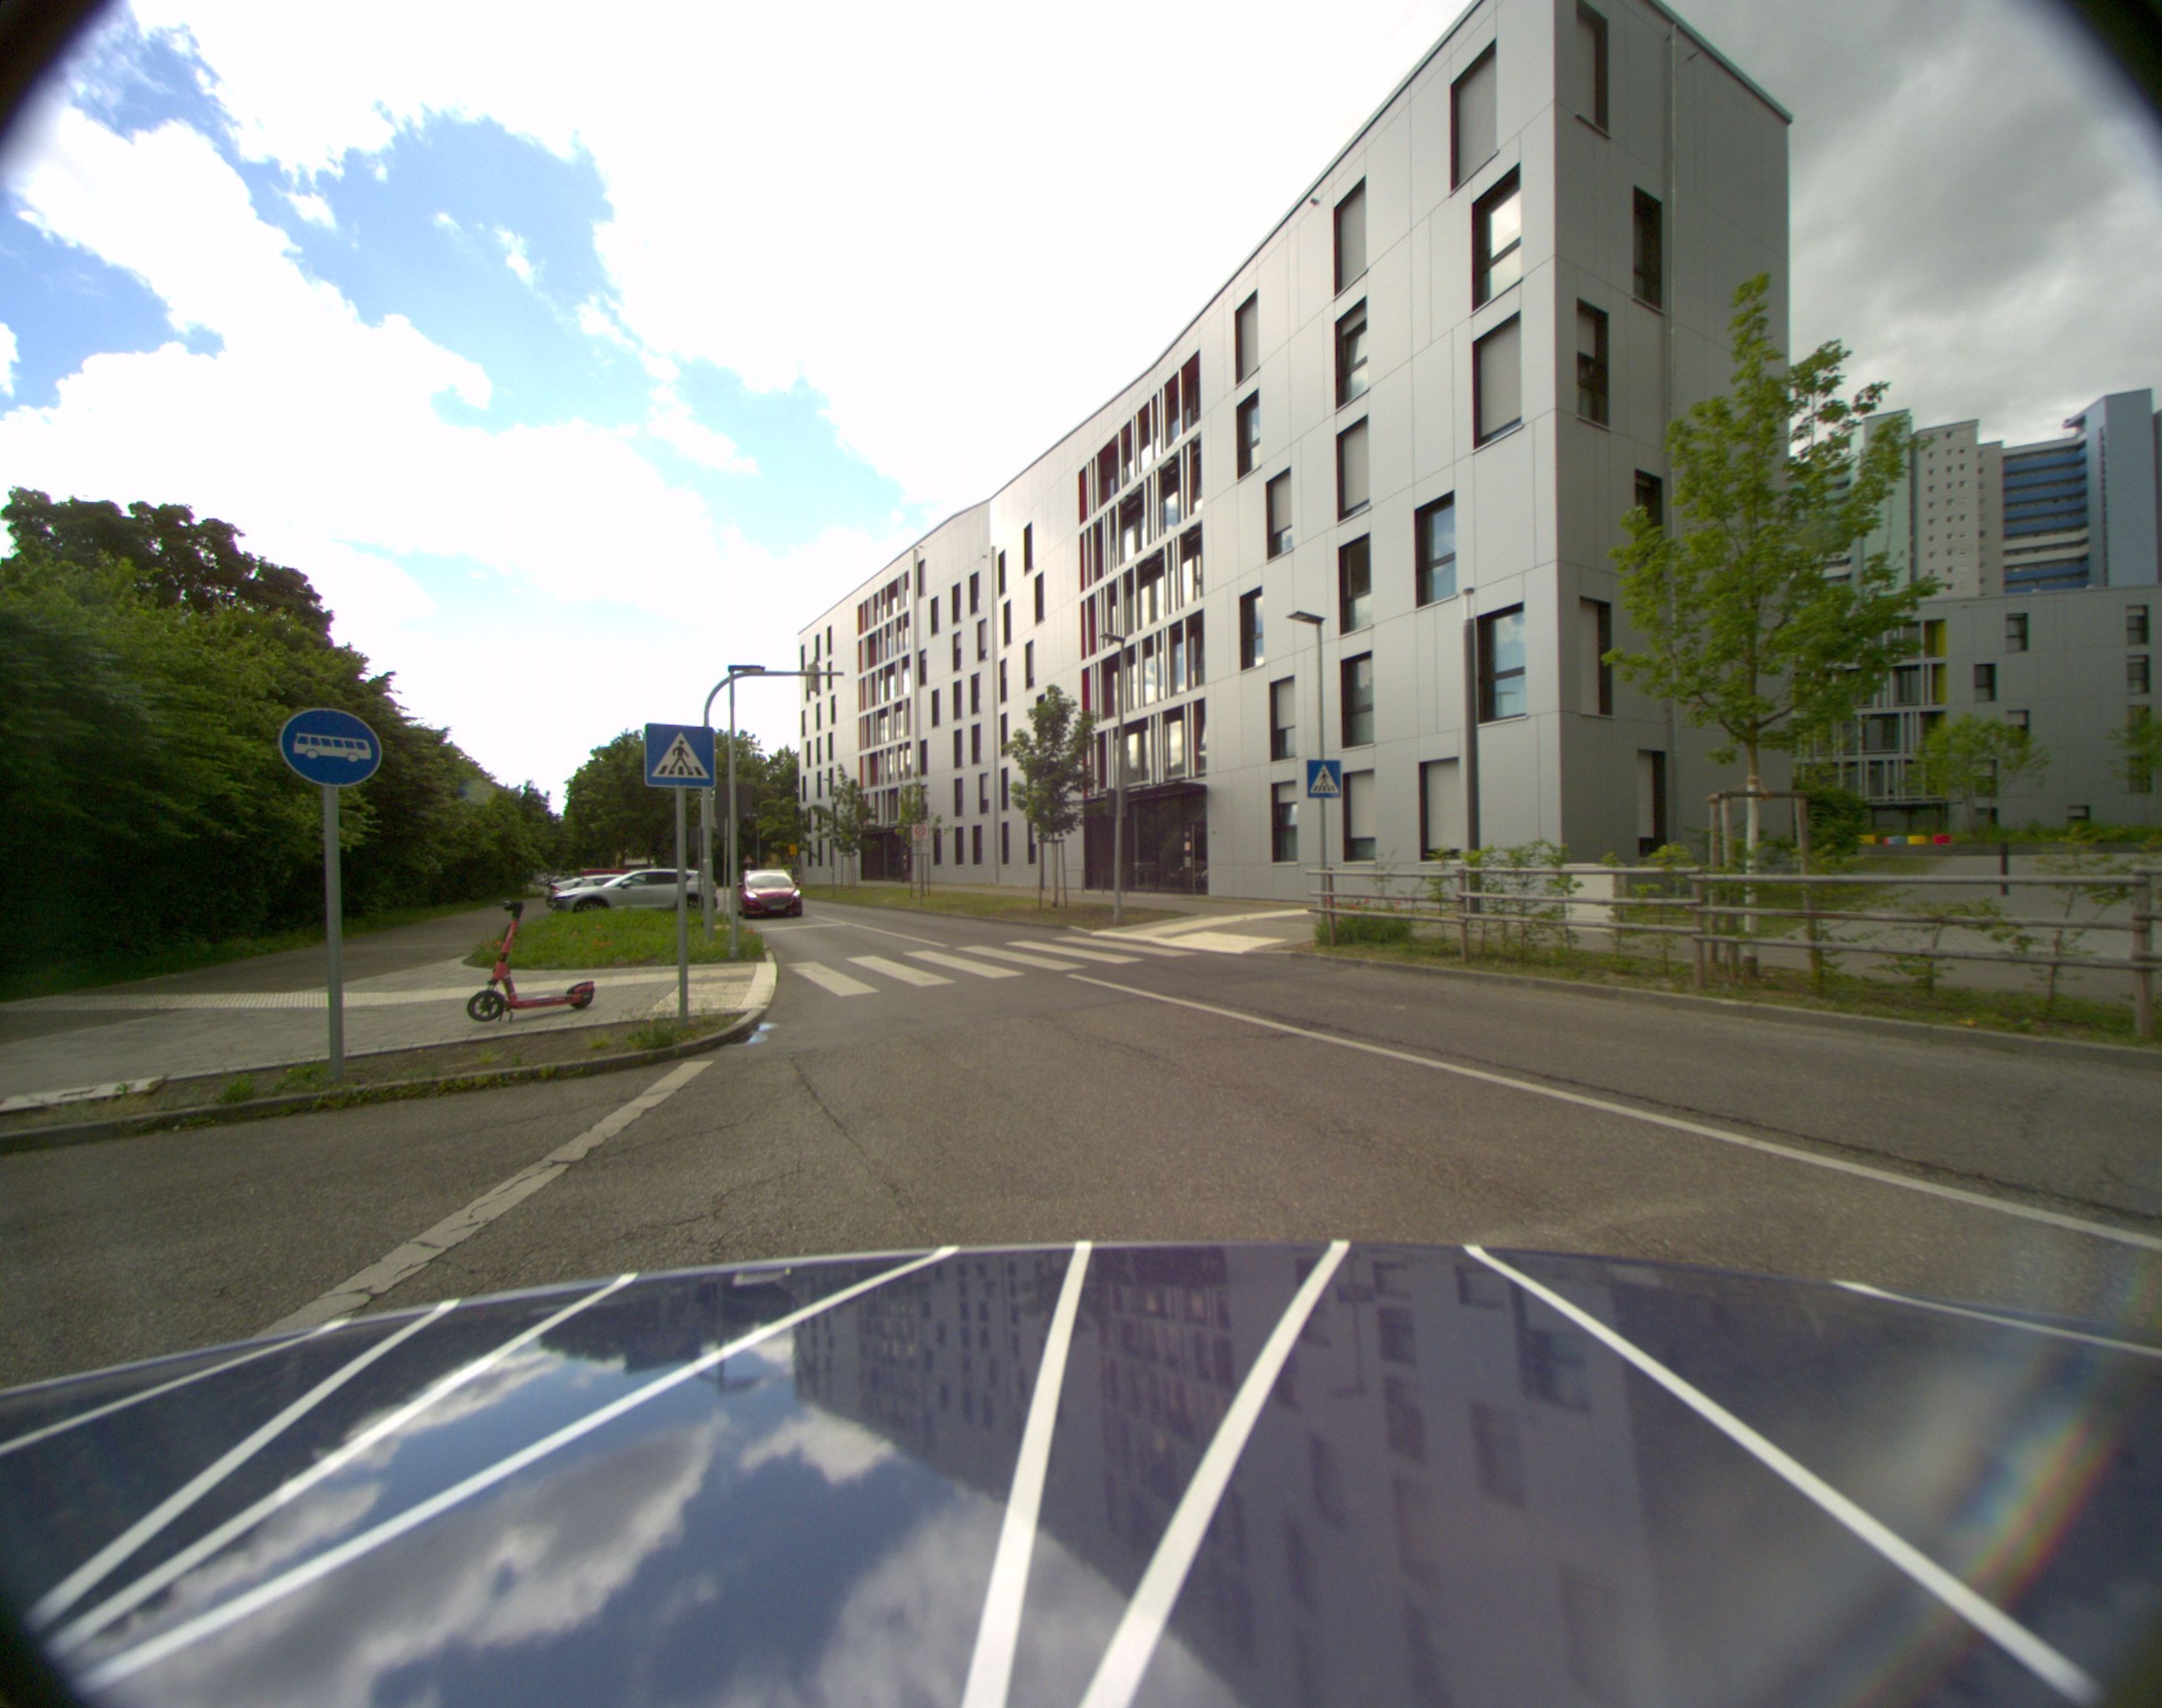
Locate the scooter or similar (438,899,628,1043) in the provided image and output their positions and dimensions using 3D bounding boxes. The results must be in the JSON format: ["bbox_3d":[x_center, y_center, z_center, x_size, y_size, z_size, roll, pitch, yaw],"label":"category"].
[{"bbox_3d":[-5.817,1.176,8.157,0.571,1.305,1.528,-1,0,28],"label":"scooter or similar"}]

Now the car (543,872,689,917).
[{"bbox_3d":[-17.247,1.448,28.343,4.500,1.553,1.907,1,-2,-32],"label":"car"}]

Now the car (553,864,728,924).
[{"bbox_3d":[-14.055,1.246,24.338,4.673,1.741,2.065,2,-2,-34],"label":"car"}]

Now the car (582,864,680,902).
[{"bbox_3d":[-23.298,1.475,39.439,4.302,1.881,1.833,0,-1,-32],"label":"car"}]

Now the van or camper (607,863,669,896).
[{"bbox_3d":[-34.567,1.967,59.332,3.988,2.306,1.880,-3,1,-32],"label":"van or camper"}]

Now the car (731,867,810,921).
[{"bbox_3d":[-11.004,1.327,26.769,1.937,1.622,4.232,-3,1,-31],"label":"car"}]

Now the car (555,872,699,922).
[{"bbox_3d":[-15.745,1.436,26.478,4.176,1.576,1.792,0,-1,-32],"label":"car"}]

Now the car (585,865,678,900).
[{"bbox_3d":[-26.035,1.644,44.076,4.574,1.887,1.880,1,-2,-32],"label":"car"}]
